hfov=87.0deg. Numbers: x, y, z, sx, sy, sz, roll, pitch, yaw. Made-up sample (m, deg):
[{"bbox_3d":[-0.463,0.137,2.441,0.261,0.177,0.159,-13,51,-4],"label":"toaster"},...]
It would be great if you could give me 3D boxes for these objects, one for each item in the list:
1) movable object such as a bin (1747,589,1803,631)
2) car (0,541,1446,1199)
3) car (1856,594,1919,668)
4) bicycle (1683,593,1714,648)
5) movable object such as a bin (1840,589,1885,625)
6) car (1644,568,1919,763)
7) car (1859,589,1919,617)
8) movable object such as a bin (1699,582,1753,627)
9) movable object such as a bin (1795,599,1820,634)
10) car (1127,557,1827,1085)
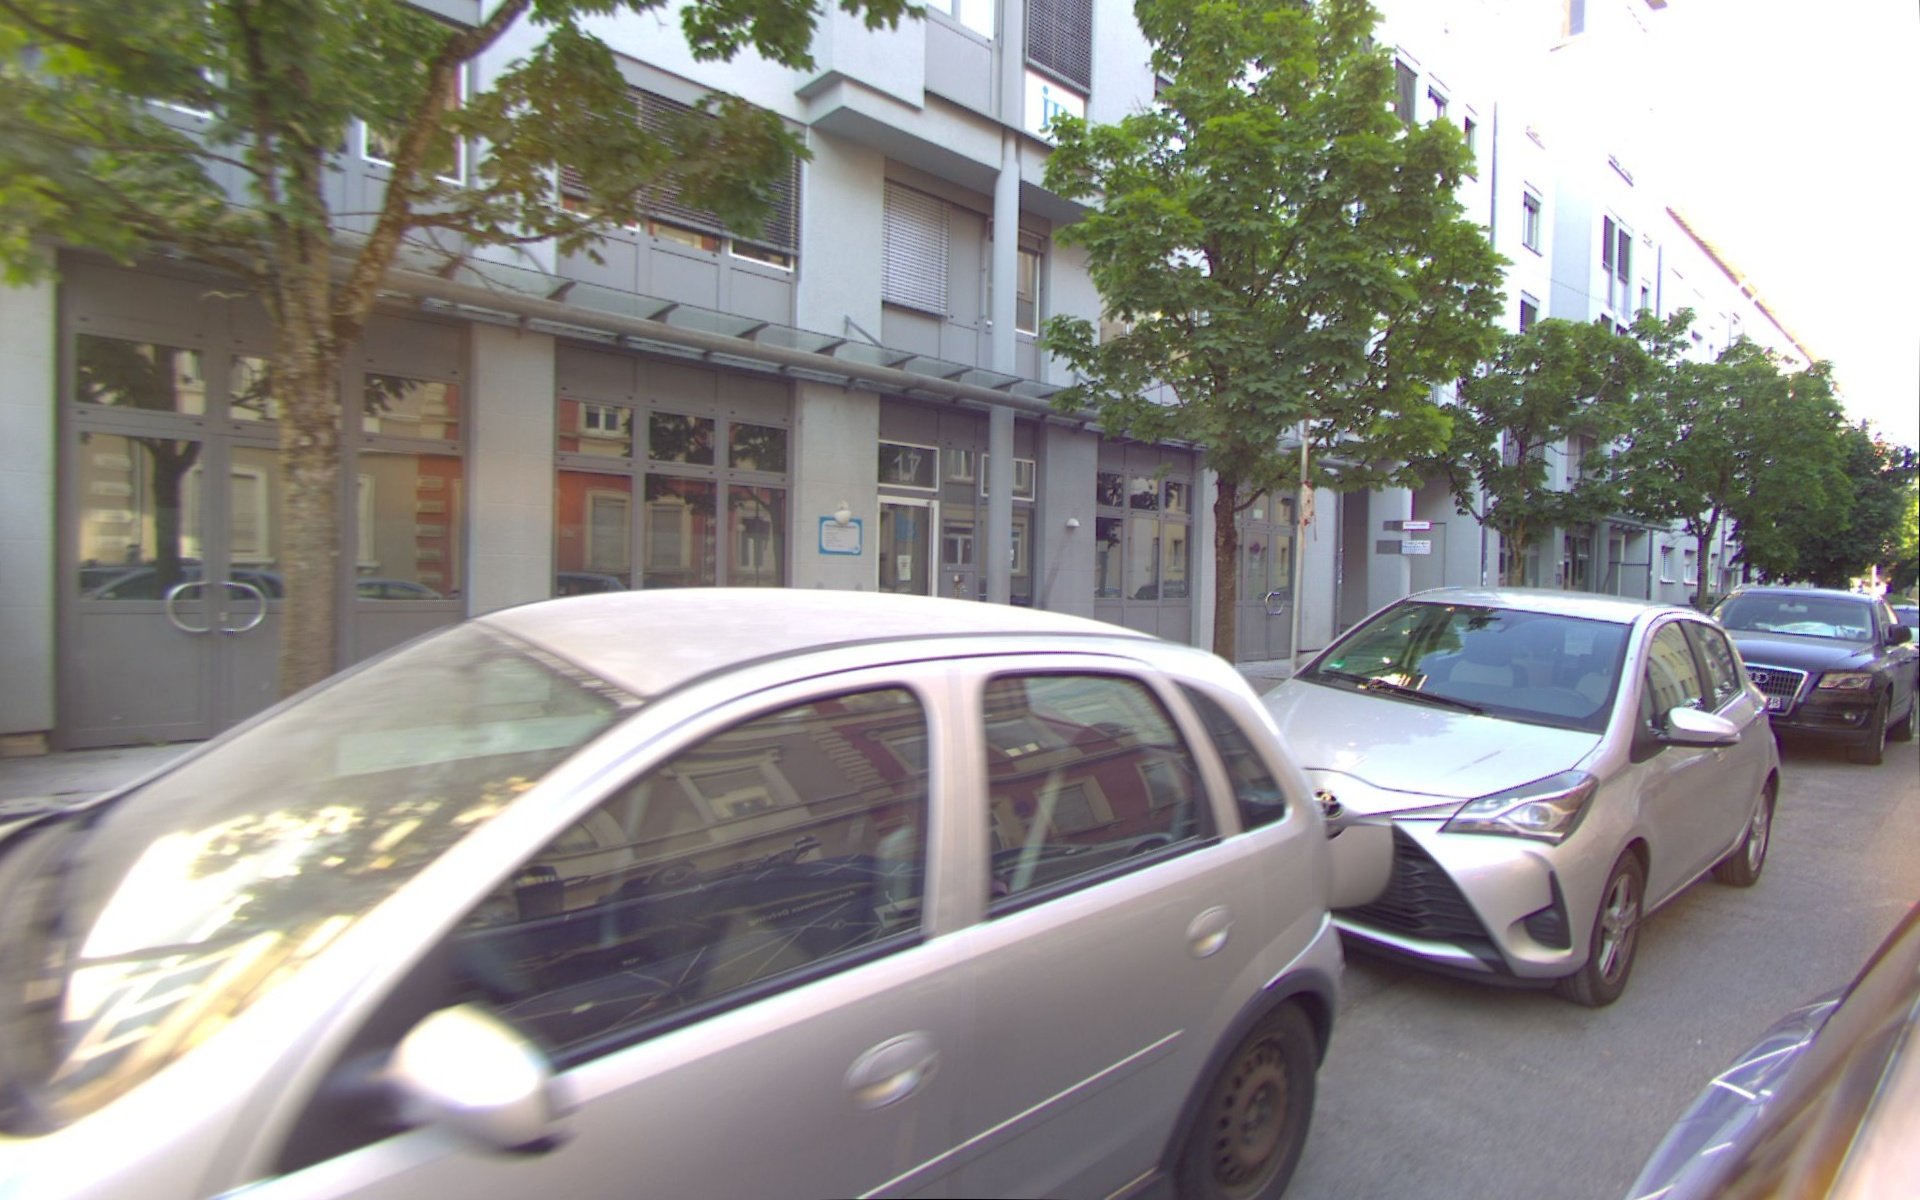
[{"bbox_3d":[27.501,0.312,34.164,1.119,1.337,1.263,0,3,-42],"label":"movable object such as a bin"},{"bbox_3d":[-0.700,0.673,2.122,3.663,1.493,1.681,0,3,-40],"label":"car"},{"bbox_3d":[21.046,0.636,22.077,4.271,1.446,1.766,0,3,-43],"label":"car"},{"bbox_3d":[17.329,0.459,23.729,0.519,1.182,1.717,4,3,37],"label":"bicycle"},{"bbox_3d":[38.492,0.279,43.165,1.202,1.454,1.286,0,3,-42],"label":"movable object such as a bin"},{"bbox_3d":[9.198,0.542,11.024,4.359,1.642,1.888,0,3,-43],"label":"car"},{"bbox_3d":[58.468,0.214,62.641,1.967,1.584,3.992,0,3,-44],"label":"car"},{"bbox_3d":[26.457,0.147,34.969,1.119,1.454,1.263,0,3,-42],"label":"movable object such as a bin"},{"bbox_3d":[27.853,0.539,33.265,0.615,1.084,0.529,0,2,-42],"label":"movable object such as a bin"},{"bbox_3d":[2.747,0.636,4.954,3.901,1.543,1.680,0,3,-41],"label":"car"}]
